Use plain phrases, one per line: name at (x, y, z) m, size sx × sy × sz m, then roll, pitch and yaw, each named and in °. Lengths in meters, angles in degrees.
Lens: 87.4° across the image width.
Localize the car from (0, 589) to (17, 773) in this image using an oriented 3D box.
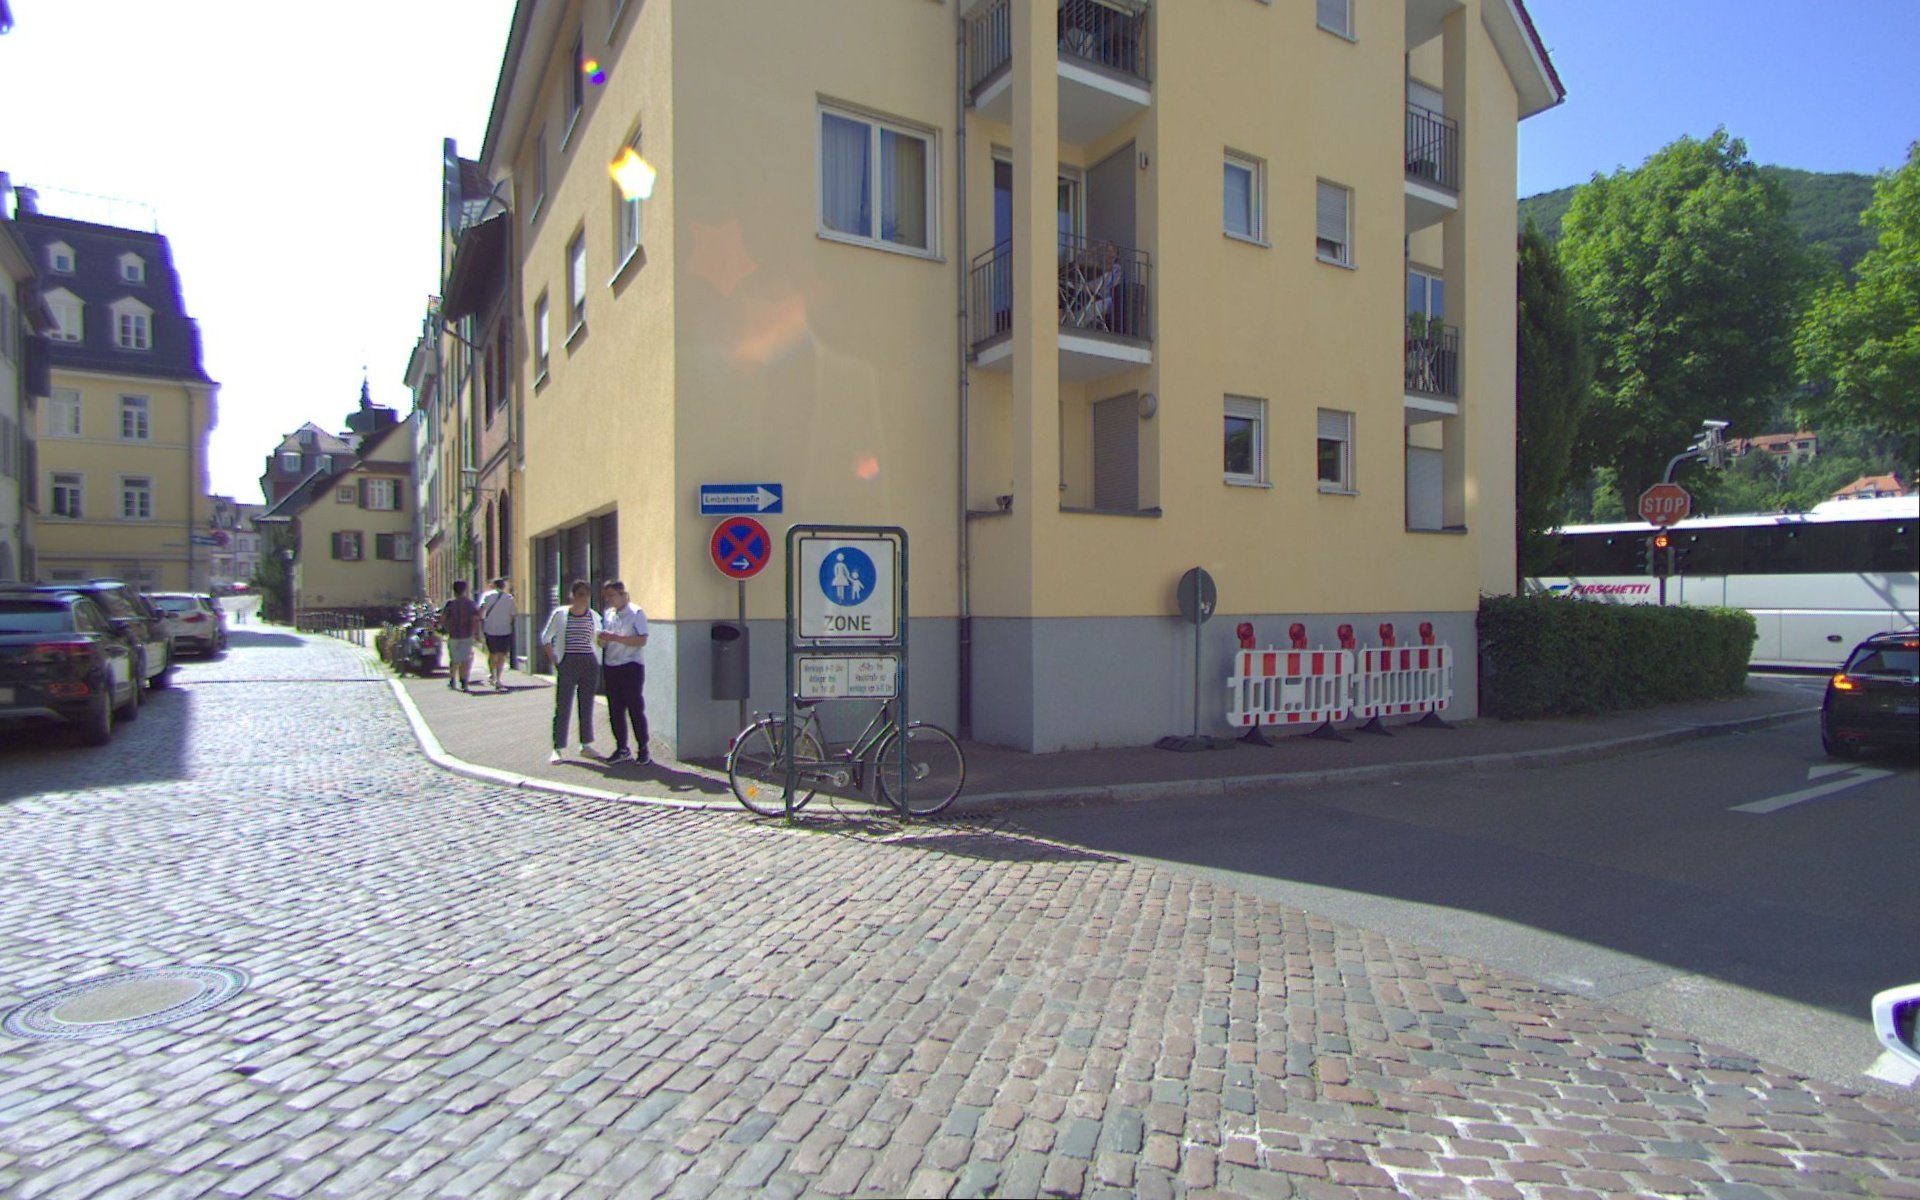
car at (-8.164, 0.680, 6.855) m, size 1.833 × 1.565 × 3.893 m, roll 0°, pitch 0°, yaw -33°

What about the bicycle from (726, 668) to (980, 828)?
bicycle at (-0.799, 1.085, 7.607) m, size 1.878 × 1.093 × 0.390 m, roll 0°, pitch 0°, yaw -16°

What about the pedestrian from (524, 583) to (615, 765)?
pedestrian at (-3.726, 0.671, 9.570) m, size 0.682 × 1.639 × 0.750 m, roll 1°, pitch 0°, yaw -30°

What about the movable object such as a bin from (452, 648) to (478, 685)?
movable object such as a bin at (-8.632, 1.152, 17.502) m, size 0.297 × 0.571 × 1.232 m, roll 1°, pitch 0°, yaw -32°

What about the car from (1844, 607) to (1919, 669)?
car at (23.587, 0.911, 23.561) m, size 1.855 × 1.437 × 3.963 m, roll 0°, pitch 0°, yaw -33°

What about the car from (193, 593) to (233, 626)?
car at (-47.673, 0.585, 64.156) m, size 1.981 × 2.040 × 3.960 m, roll 0°, pitch 0°, yaw -36°

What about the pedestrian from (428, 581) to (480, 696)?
pedestrian at (-8.127, 0.611, 16.129) m, size 0.612 × 1.768 × 0.855 m, roll 3°, pitch 0°, yaw -30°

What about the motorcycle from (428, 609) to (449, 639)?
motorcycle at (-17.604, 0.803, 33.897) m, size 0.383 × 0.958 × 1.339 m, roll 3°, pitch -1°, yaw -37°

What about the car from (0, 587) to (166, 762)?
car at (-10.031, 0.672, 10.809) m, size 1.832 × 1.565 × 3.965 m, roll 1°, pitch 0°, yaw -32°

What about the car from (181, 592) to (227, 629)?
car at (-43.183, 0.592, 57.447) m, size 1.981 × 2.040 × 3.960 m, roll 0°, pitch 0°, yaw -36°

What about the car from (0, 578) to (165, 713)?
car at (-12.529, 0.550, 14.234) m, size 1.551 × 1.657 × 3.826 m, roll 1°, pitch 0°, yaw -32°

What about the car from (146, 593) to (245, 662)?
car at (-18.186, 0.609, 24.012) m, size 1.551 × 1.463 × 3.611 m, roll 1°, pitch 0°, yaw -32°

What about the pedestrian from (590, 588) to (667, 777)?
pedestrian at (-3.015, 0.720, 9.117) m, size 0.488 × 1.639 × 0.651 m, roll 1°, pitch 0°, yaw -34°

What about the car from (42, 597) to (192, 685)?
car at (-16.080, 0.712, 19.343) m, size 1.644 × 1.462 × 3.827 m, roll 1°, pitch 0°, yaw -32°

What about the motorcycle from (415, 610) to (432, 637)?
motorcycle at (-20.234, 0.874, 37.881) m, size 0.382 × 0.958 × 1.341 m, roll 3°, pitch -1°, yaw -33°

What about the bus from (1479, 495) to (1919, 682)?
bus at (19.088, -0.215, 23.892) m, size 2.878 × 3.838 × 12.058 m, roll 0°, pitch 0°, yaw -35°

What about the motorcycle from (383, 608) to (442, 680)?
motorcycle at (-10.617, 0.802, 19.450) m, size 0.591 × 1.265 × 2.456 m, roll -3°, pitch 2°, yaw -37°

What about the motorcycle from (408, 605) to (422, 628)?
motorcycle at (-24.518, 0.730, 45.186) m, size 0.382 × 0.958 × 1.556 m, roll 3°, pitch -1°, yaw -34°

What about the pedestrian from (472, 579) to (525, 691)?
pedestrian at (-7.553, 0.561, 16.433) m, size 0.612 × 1.768 × 0.855 m, roll 3°, pitch 0°, yaw -30°

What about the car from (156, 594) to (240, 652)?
car at (-21.178, 0.599, 28.024) m, size 1.551 × 1.463 × 3.611 m, roll 1°, pitch 0°, yaw -32°

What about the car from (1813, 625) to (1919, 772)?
car at (11.782, 1.044, 11.701) m, size 4.677 × 1.481 × 1.703 m, roll 0°, pitch -2°, yaw -36°
